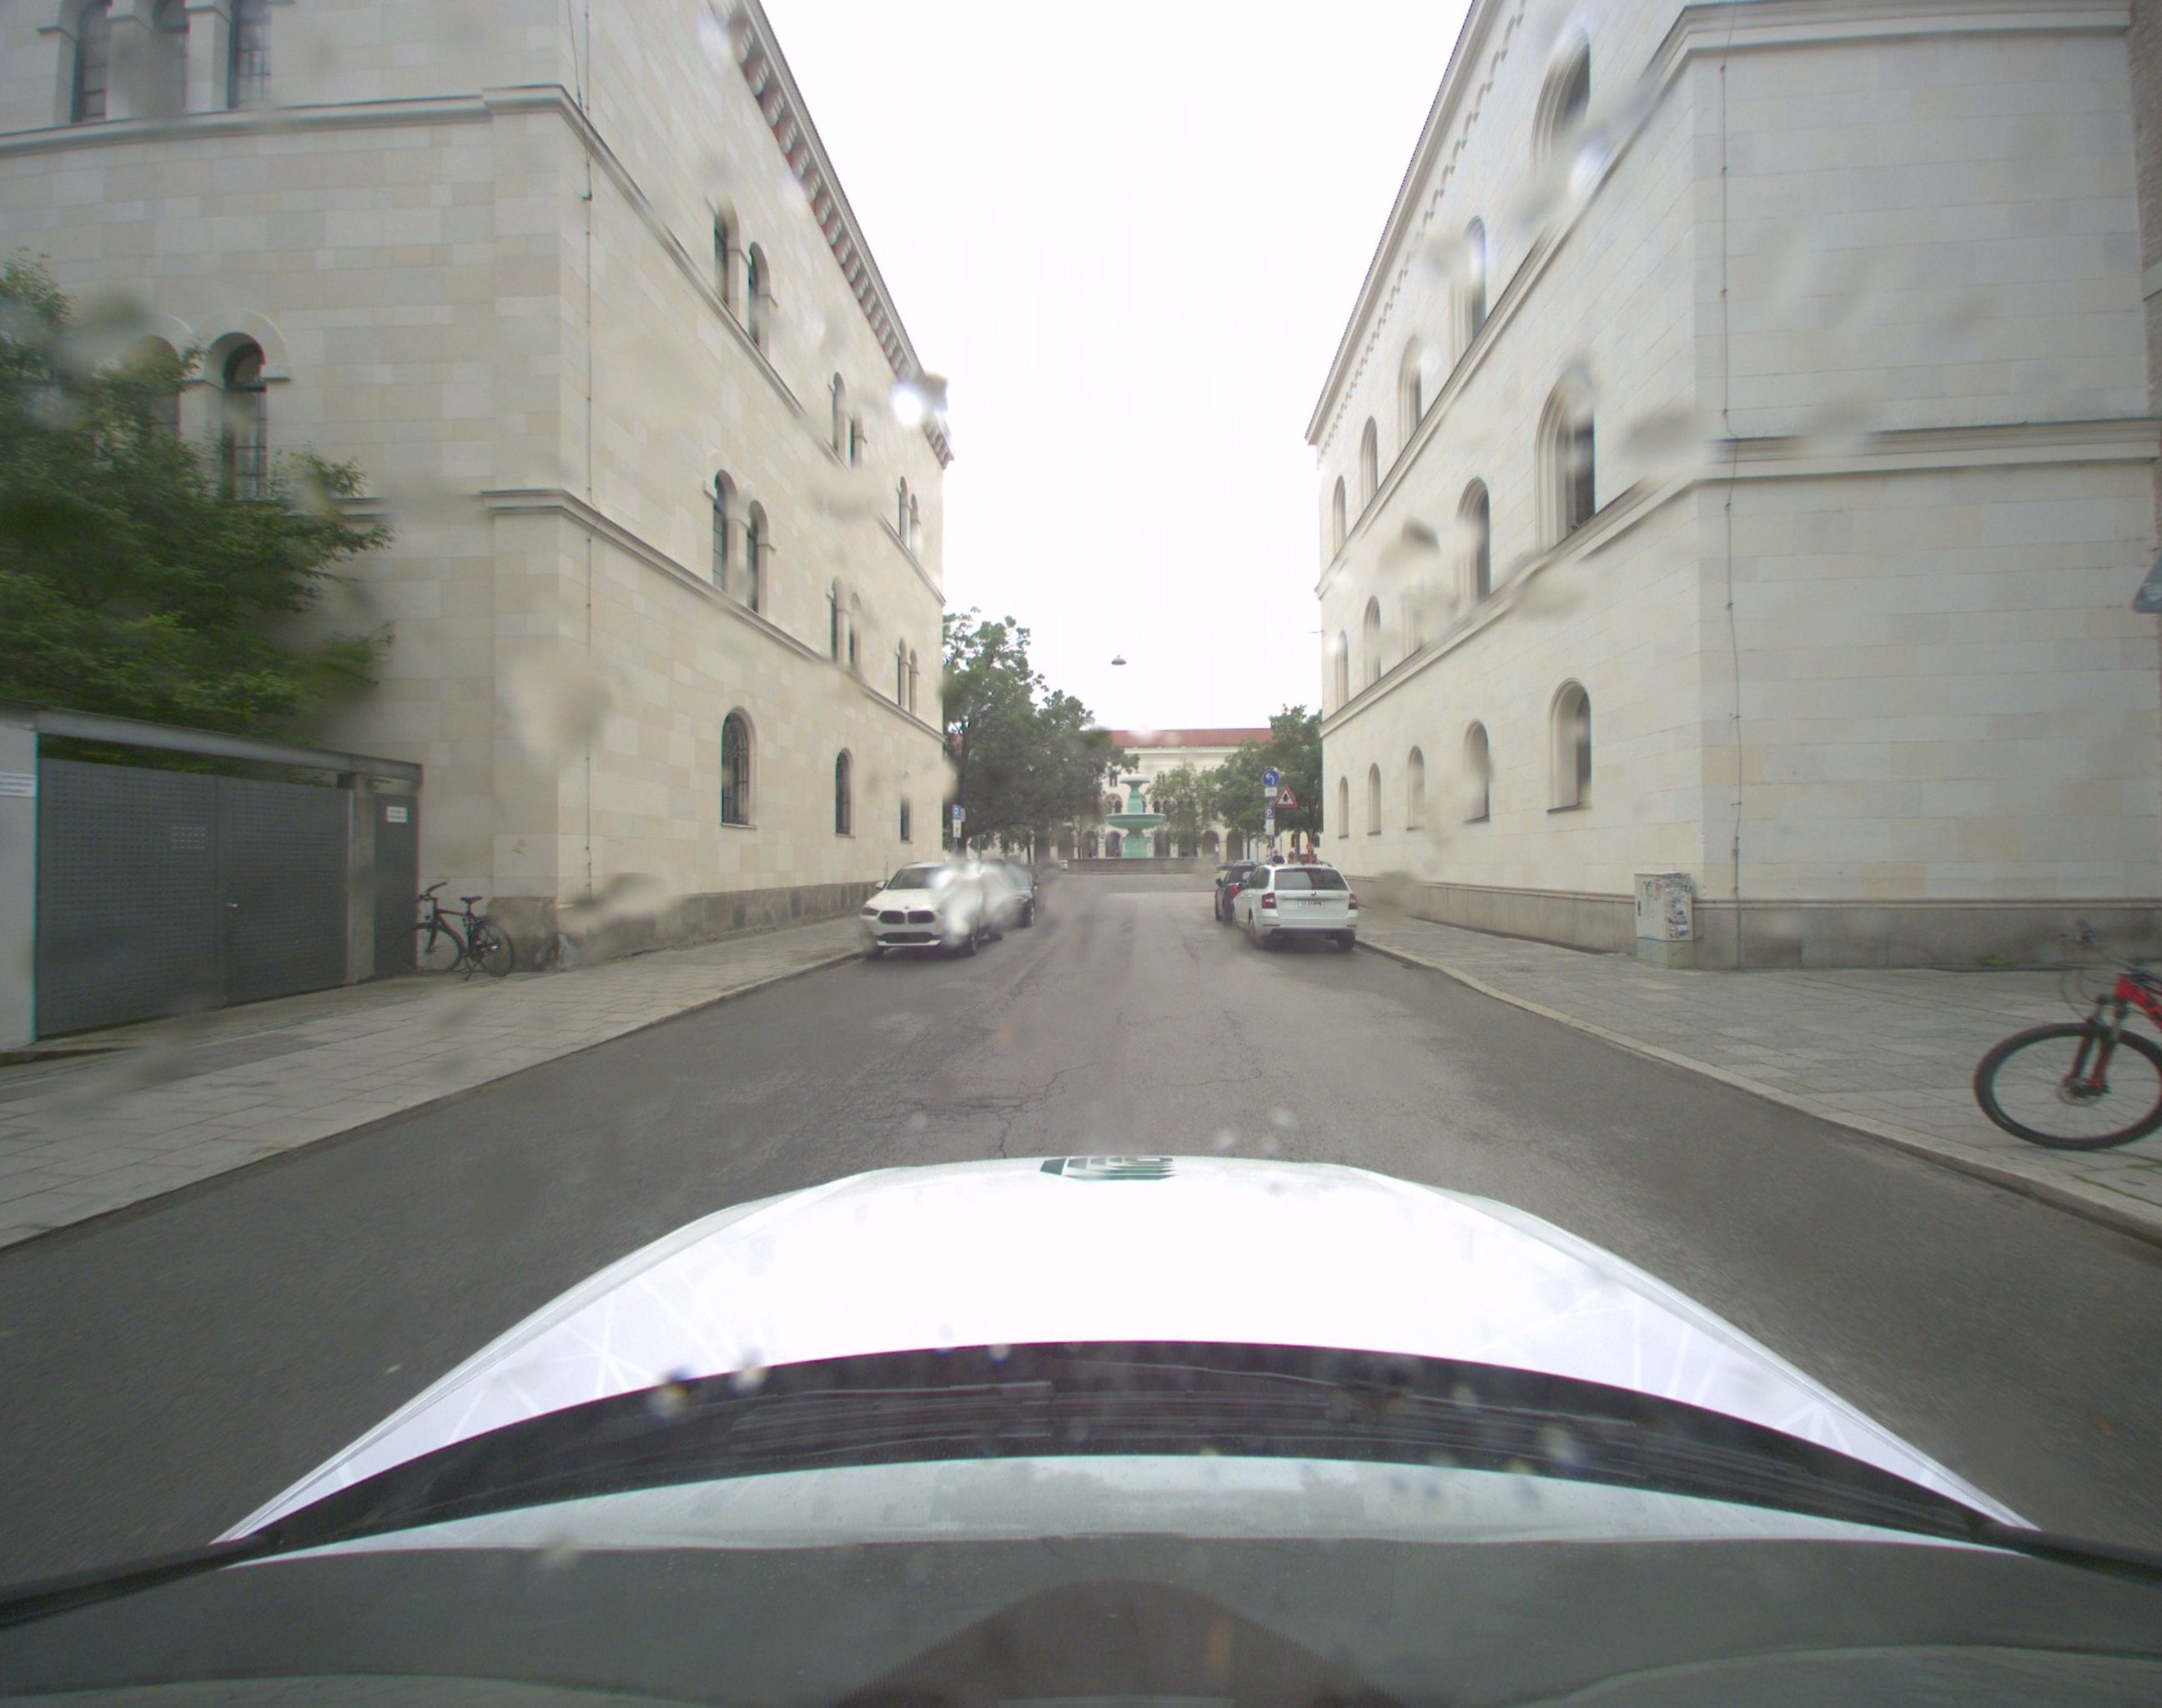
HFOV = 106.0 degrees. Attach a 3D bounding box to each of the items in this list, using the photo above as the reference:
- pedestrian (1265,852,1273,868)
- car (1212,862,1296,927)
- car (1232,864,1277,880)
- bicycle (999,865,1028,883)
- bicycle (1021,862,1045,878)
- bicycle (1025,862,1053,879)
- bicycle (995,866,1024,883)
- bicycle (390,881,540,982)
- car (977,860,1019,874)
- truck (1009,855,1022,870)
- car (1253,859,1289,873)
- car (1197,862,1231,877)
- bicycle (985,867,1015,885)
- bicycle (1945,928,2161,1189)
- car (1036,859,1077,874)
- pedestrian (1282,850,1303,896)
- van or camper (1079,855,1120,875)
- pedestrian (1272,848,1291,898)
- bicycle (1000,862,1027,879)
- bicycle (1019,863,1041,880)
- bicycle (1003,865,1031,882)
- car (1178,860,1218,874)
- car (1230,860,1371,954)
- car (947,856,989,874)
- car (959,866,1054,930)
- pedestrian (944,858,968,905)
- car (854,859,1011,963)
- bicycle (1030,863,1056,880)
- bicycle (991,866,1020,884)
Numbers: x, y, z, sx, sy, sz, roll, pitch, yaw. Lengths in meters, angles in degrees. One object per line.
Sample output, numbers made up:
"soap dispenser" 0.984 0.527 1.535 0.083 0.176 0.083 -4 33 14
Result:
"pedestrian" 17.424 0.581 75.322 0.576 1.465 0.551 -1 0 27
"car" 4.122 0.924 19.862 1.533 1.426 3.777 -1 -1 5
"car" 17.427 1.806 81.946 4.336 1.524 1.806 -1 0 5
"bicycle" -4.181 1.210 50.550 1.606 1.099 0.701 0 0 15
"bicycle" -3.286 1.095 55.582 1.524 1.019 0.701 0 0 15
"bicycle" -2.712 1.058 52.956 1.697 1.099 0.701 0 0 15
"bicycle" -4.379 1.258 49.803 1.606 1.035 0.701 0 0 15
"bicycle" -7.635 0.950 10.100 1.700 1.178 0.477 -1 -1 13
"car" -8.519 1.317 83.500 3.971 1.376 2.001 -1 0 2
"truck" -11.194 1.460 138.674 1.992 2.489 3.990 0 0 -7
"car" 23.258 1.479 99.749 4.083 1.741 1.746 0 0 0
"car" 16.428 1.911 100.457 3.970 1.750 1.810 0 0 3
"bicycle" -4.811 1.288 48.254 1.606 1.035 0.701 0 0 15
"bicycle" 4.792 0.905 3.438 0.347 1.042 1.631 -3 -1 -7
"car" -2.461 1.284 83.332 3.971 1.376 2.001 -1 0 2
"pedestrian" 7.802 0.683 30.100 0.619 1.681 0.545 1 0 -2
"van or camper" 2.134 1.261 94.159 4.563 2.014 2.000 -3 -2 1
"pedestrian" 7.281 0.683 29.597 0.638 1.808 0.490 -1 0 9
"bicycle" -4.339 1.050 52.452 1.606 1.099 0.701 0 0 15
"bicycle" -3.429 1.182 54.876 1.390 1.099 0.659 0 0 15
"bicycle" -4.010 1.224 51.295 1.606 1.099 0.701 0 0 15
"car" 11.790 1.305 82.474 3.966 1.403 1.828 -1 0 6
"car" 3.860 0.849 15.049 1.781 1.476 4.318 0 0 5
"car" -12.700 1.269 91.535 4.307 2.013 1.826 0 0 4
"car" -1.772 1.037 20.703 1.691 1.393 4.216 -2 -1 4
"pedestrian" -4.804 1.049 31.314 0.751 1.749 0.690 -1 0 2
"car" -2.457 0.912 14.571 1.771 1.535 4.215 -2 -1 3
"bicycle" -2.524 1.126 53.652 1.607 1.099 0.619 0 0 15
"bicycle" -4.558 1.279 49.062 1.606 1.035 0.701 0 0 15
